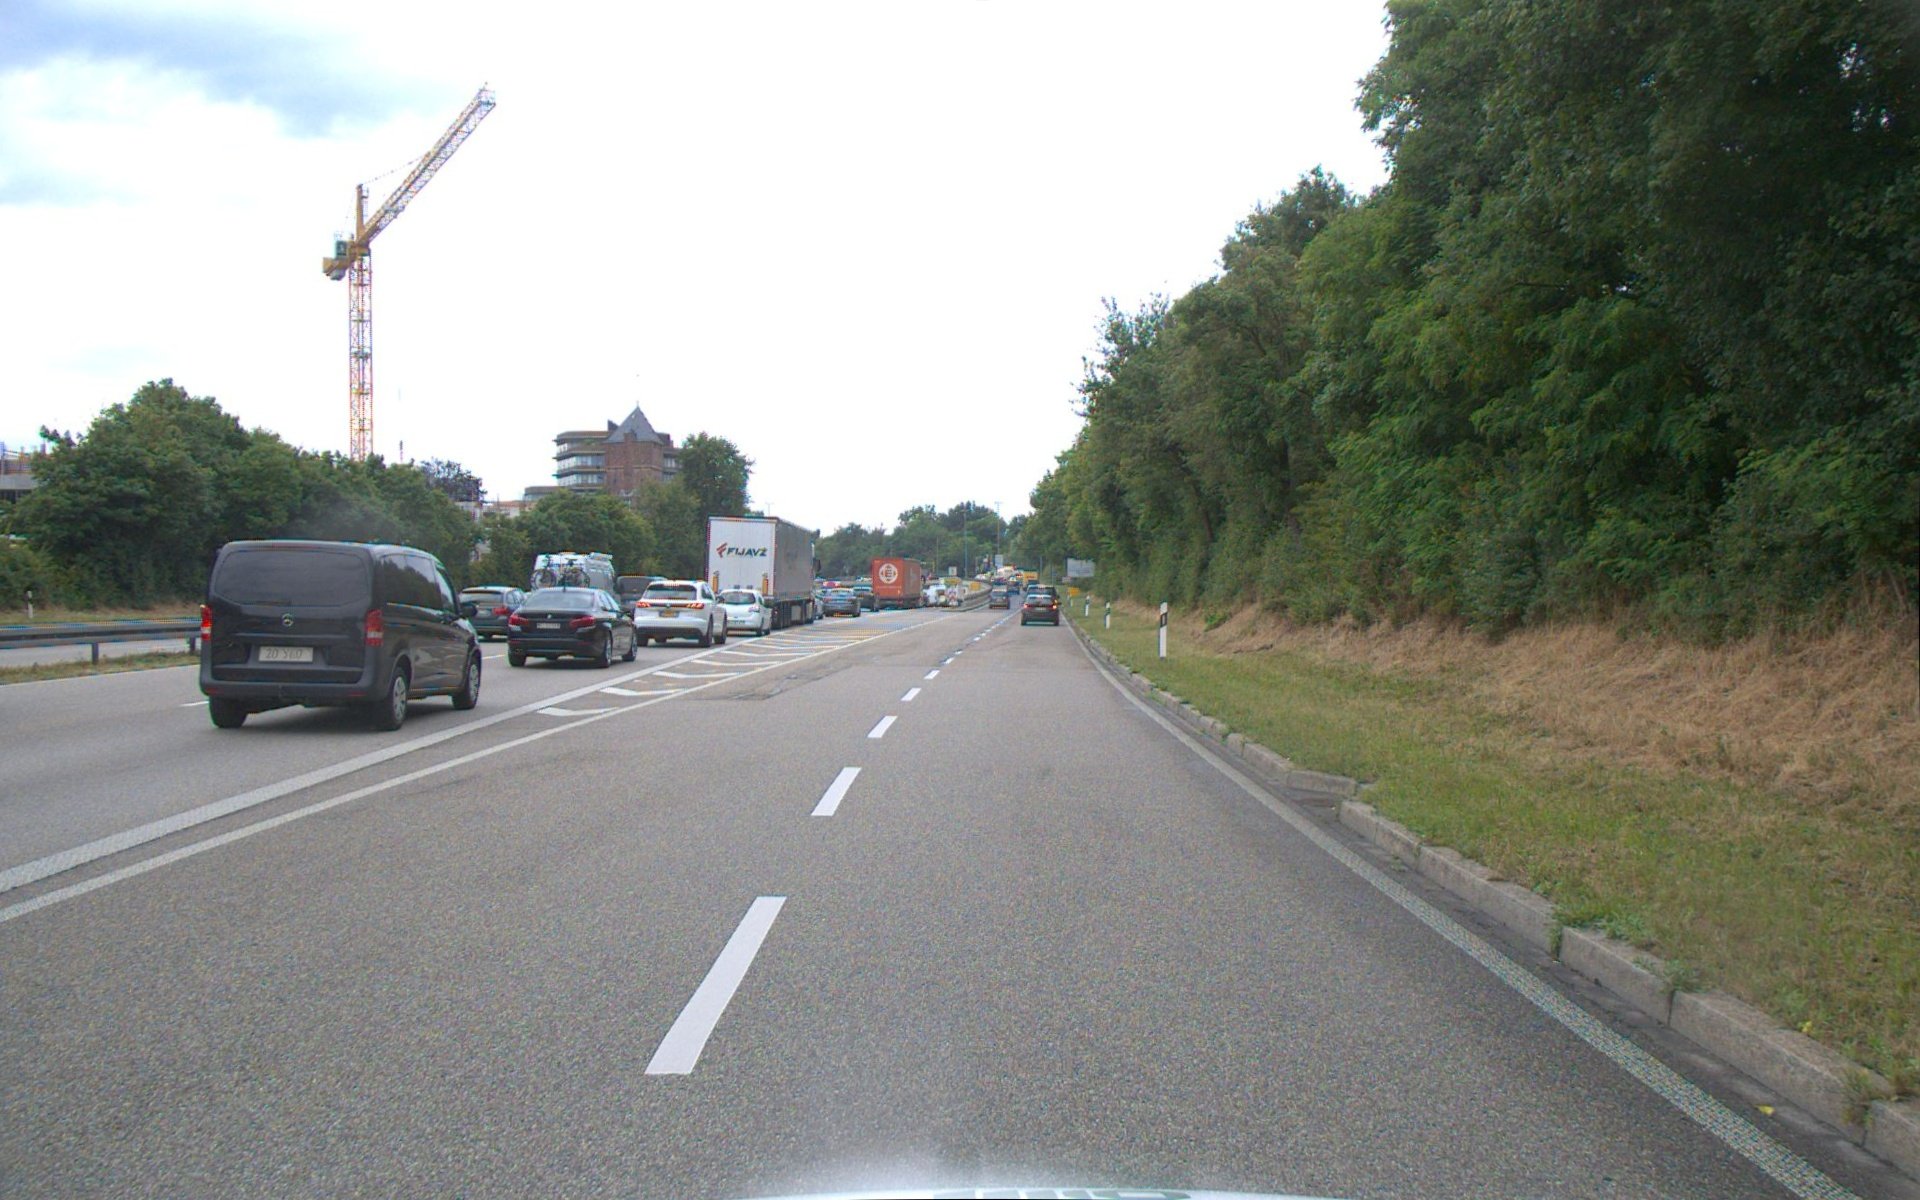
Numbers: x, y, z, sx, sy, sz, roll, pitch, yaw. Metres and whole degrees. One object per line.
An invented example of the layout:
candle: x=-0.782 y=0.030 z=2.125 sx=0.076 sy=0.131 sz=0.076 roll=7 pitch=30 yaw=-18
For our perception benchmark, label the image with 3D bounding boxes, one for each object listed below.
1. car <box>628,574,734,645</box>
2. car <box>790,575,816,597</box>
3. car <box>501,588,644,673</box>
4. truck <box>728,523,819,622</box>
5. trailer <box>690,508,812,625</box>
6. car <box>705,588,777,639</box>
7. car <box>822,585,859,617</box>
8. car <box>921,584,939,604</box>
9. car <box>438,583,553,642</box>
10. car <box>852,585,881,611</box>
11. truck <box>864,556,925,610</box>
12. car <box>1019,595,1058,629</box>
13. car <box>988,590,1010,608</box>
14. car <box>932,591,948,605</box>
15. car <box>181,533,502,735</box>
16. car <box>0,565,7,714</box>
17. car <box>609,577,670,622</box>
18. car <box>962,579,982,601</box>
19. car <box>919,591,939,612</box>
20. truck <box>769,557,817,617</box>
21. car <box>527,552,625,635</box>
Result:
car: x=-7.293 y=0.258 z=43.740 sx=1.916 sy=1.724 sz=4.865 roll=1 pitch=0 yaw=0
car: x=-15.080 y=-1.331 z=159.457 sx=1.952 sy=2.049 sz=4.001 roll=0 pitch=0 yaw=3
car: x=-7.411 y=0.556 z=32.052 sx=1.810 sy=1.485 sz=4.828 roll=1 pitch=0 yaw=-3
truck: x=-7.995 y=-1.116 z=71.856 sx=3.134 sy=4.016 sz=7.072 roll=1 pitch=0 yaw=-1
trailer: x=-7.992 y=-1.152 z=65.261 sx=3.231 sy=4.107 sz=13.095 roll=1 pitch=0 yaw=-1
car: x=-7.053 y=0.421 z=53.703 sx=1.728 sy=1.504 sz=4.089 roll=2 pitch=0 yaw=0
car: x=-6.682 y=0.084 z=92.959 sx=1.682 sy=1.713 sz=4.000 roll=1 pitch=0 yaw=1
car: x=-3.080 y=-0.604 z=171.610 sx=1.581 sy=1.982 sz=3.706 roll=1 pitch=0 yaw=2
car: x=-12.484 y=0.344 z=44.726 sx=1.678 sy=1.473 sz=4.701 roll=1 pitch=0 yaw=1
car: x=-6.514 y=-0.142 z=115.090 sx=1.682 sy=1.713 sz=4.000 roll=1 pitch=0 yaw=1
truck: x=-5.277 y=-1.398 z=136.196 sx=3.416 sy=4.144 sz=13.599 roll=0 pitch=0 yaw=4
car: x=3.717 y=0.550 z=78.456 sx=1.787 sy=1.508 sz=4.002 roll=0 pitch=0 yaw=3
car: x=3.300 y=-0.113 z=140.355 sx=1.787 sy=1.508 sz=4.001 roll=0 pitch=0 yaw=1
car: x=-2.248 y=-0.233 z=188.046 sx=1.741 sy=1.508 sz=3.999 roll=0 pitch=0 yaw=-1
car: x=-6.713 y=0.338 z=18.616 sx=1.948 sy=1.931 sz=4.981 roll=1 pitch=0 yaw=-3
car: x=-11.398 y=0.443 z=15.956 sx=1.823 sy=1.641 sz=4.650 roll=0 pitch=0 yaw=-2
car: x=-12.782 y=-0.004 z=66.091 sx=1.682 sy=1.711 sz=3.999 roll=1 pitch=0 yaw=-1
car: x=1.171 y=-0.950 z=159.536 sx=1.911 sy=2.049 sz=4.000 roll=0 pitch=0 yaw=0
car: x=-3.021 y=0.141 z=160.313 sx=1.580 sy=1.982 sz=3.707 roll=1 pitch=0 yaw=4
truck: x=-12.426 y=-0.904 z=124.035 sx=2.683 sy=4.211 sz=10.693 roll=1 pitch=0 yaw=-1
car: x=-12.577 y=-0.224 z=54.487 sx=1.953 sy=2.598 sz=5.362 roll=0 pitch=0 yaw=0
